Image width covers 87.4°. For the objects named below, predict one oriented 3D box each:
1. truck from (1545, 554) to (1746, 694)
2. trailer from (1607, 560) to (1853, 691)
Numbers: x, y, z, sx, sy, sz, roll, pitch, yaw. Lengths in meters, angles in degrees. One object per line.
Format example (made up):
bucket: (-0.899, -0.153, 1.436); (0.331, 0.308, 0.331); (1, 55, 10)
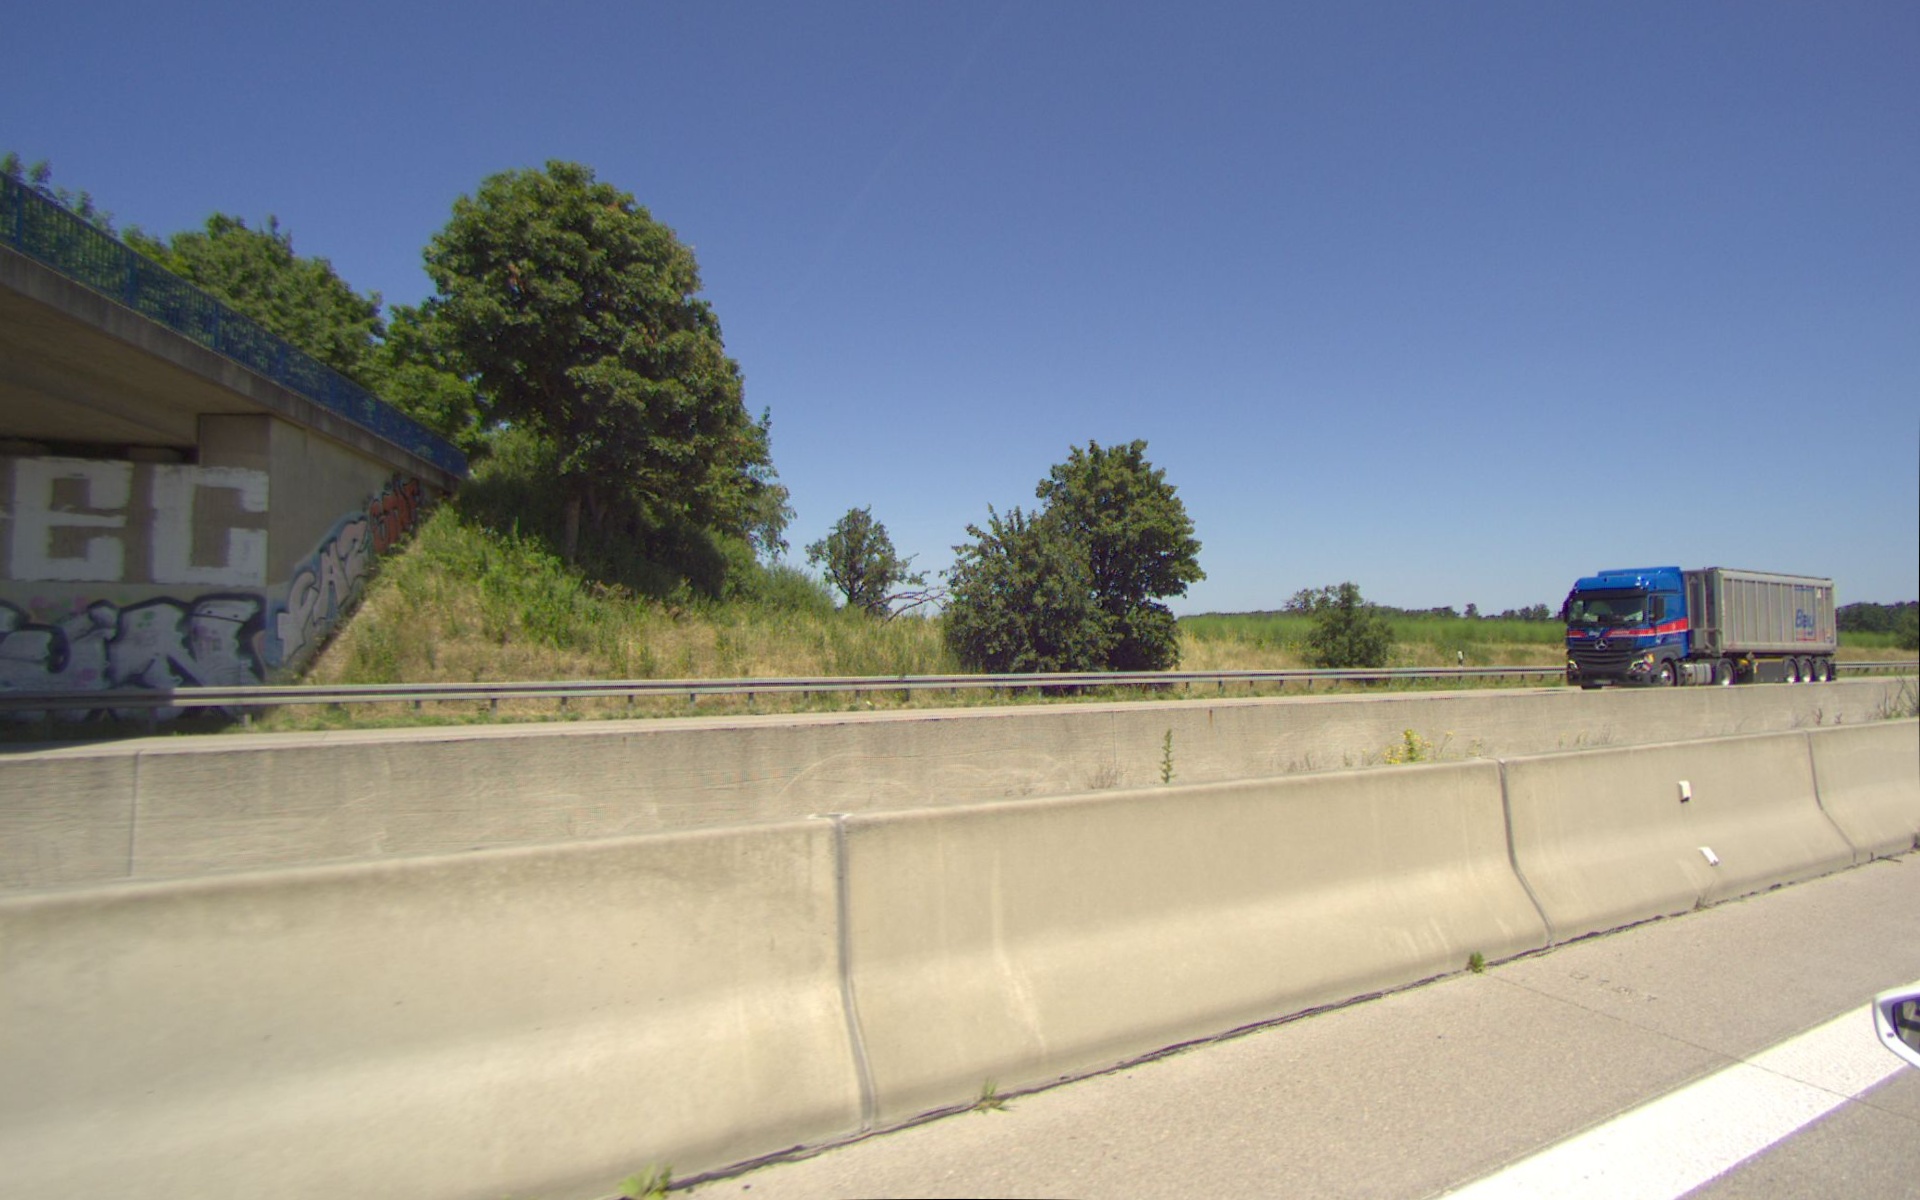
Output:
truck: (22.343, 0.846, 32.702); (6.390, 4.143, 2.967); (2, -3, -31)
trailer: (27.783, 0.998, 35.989); (11.471, 4.144, 2.967); (2, -2, -31)
